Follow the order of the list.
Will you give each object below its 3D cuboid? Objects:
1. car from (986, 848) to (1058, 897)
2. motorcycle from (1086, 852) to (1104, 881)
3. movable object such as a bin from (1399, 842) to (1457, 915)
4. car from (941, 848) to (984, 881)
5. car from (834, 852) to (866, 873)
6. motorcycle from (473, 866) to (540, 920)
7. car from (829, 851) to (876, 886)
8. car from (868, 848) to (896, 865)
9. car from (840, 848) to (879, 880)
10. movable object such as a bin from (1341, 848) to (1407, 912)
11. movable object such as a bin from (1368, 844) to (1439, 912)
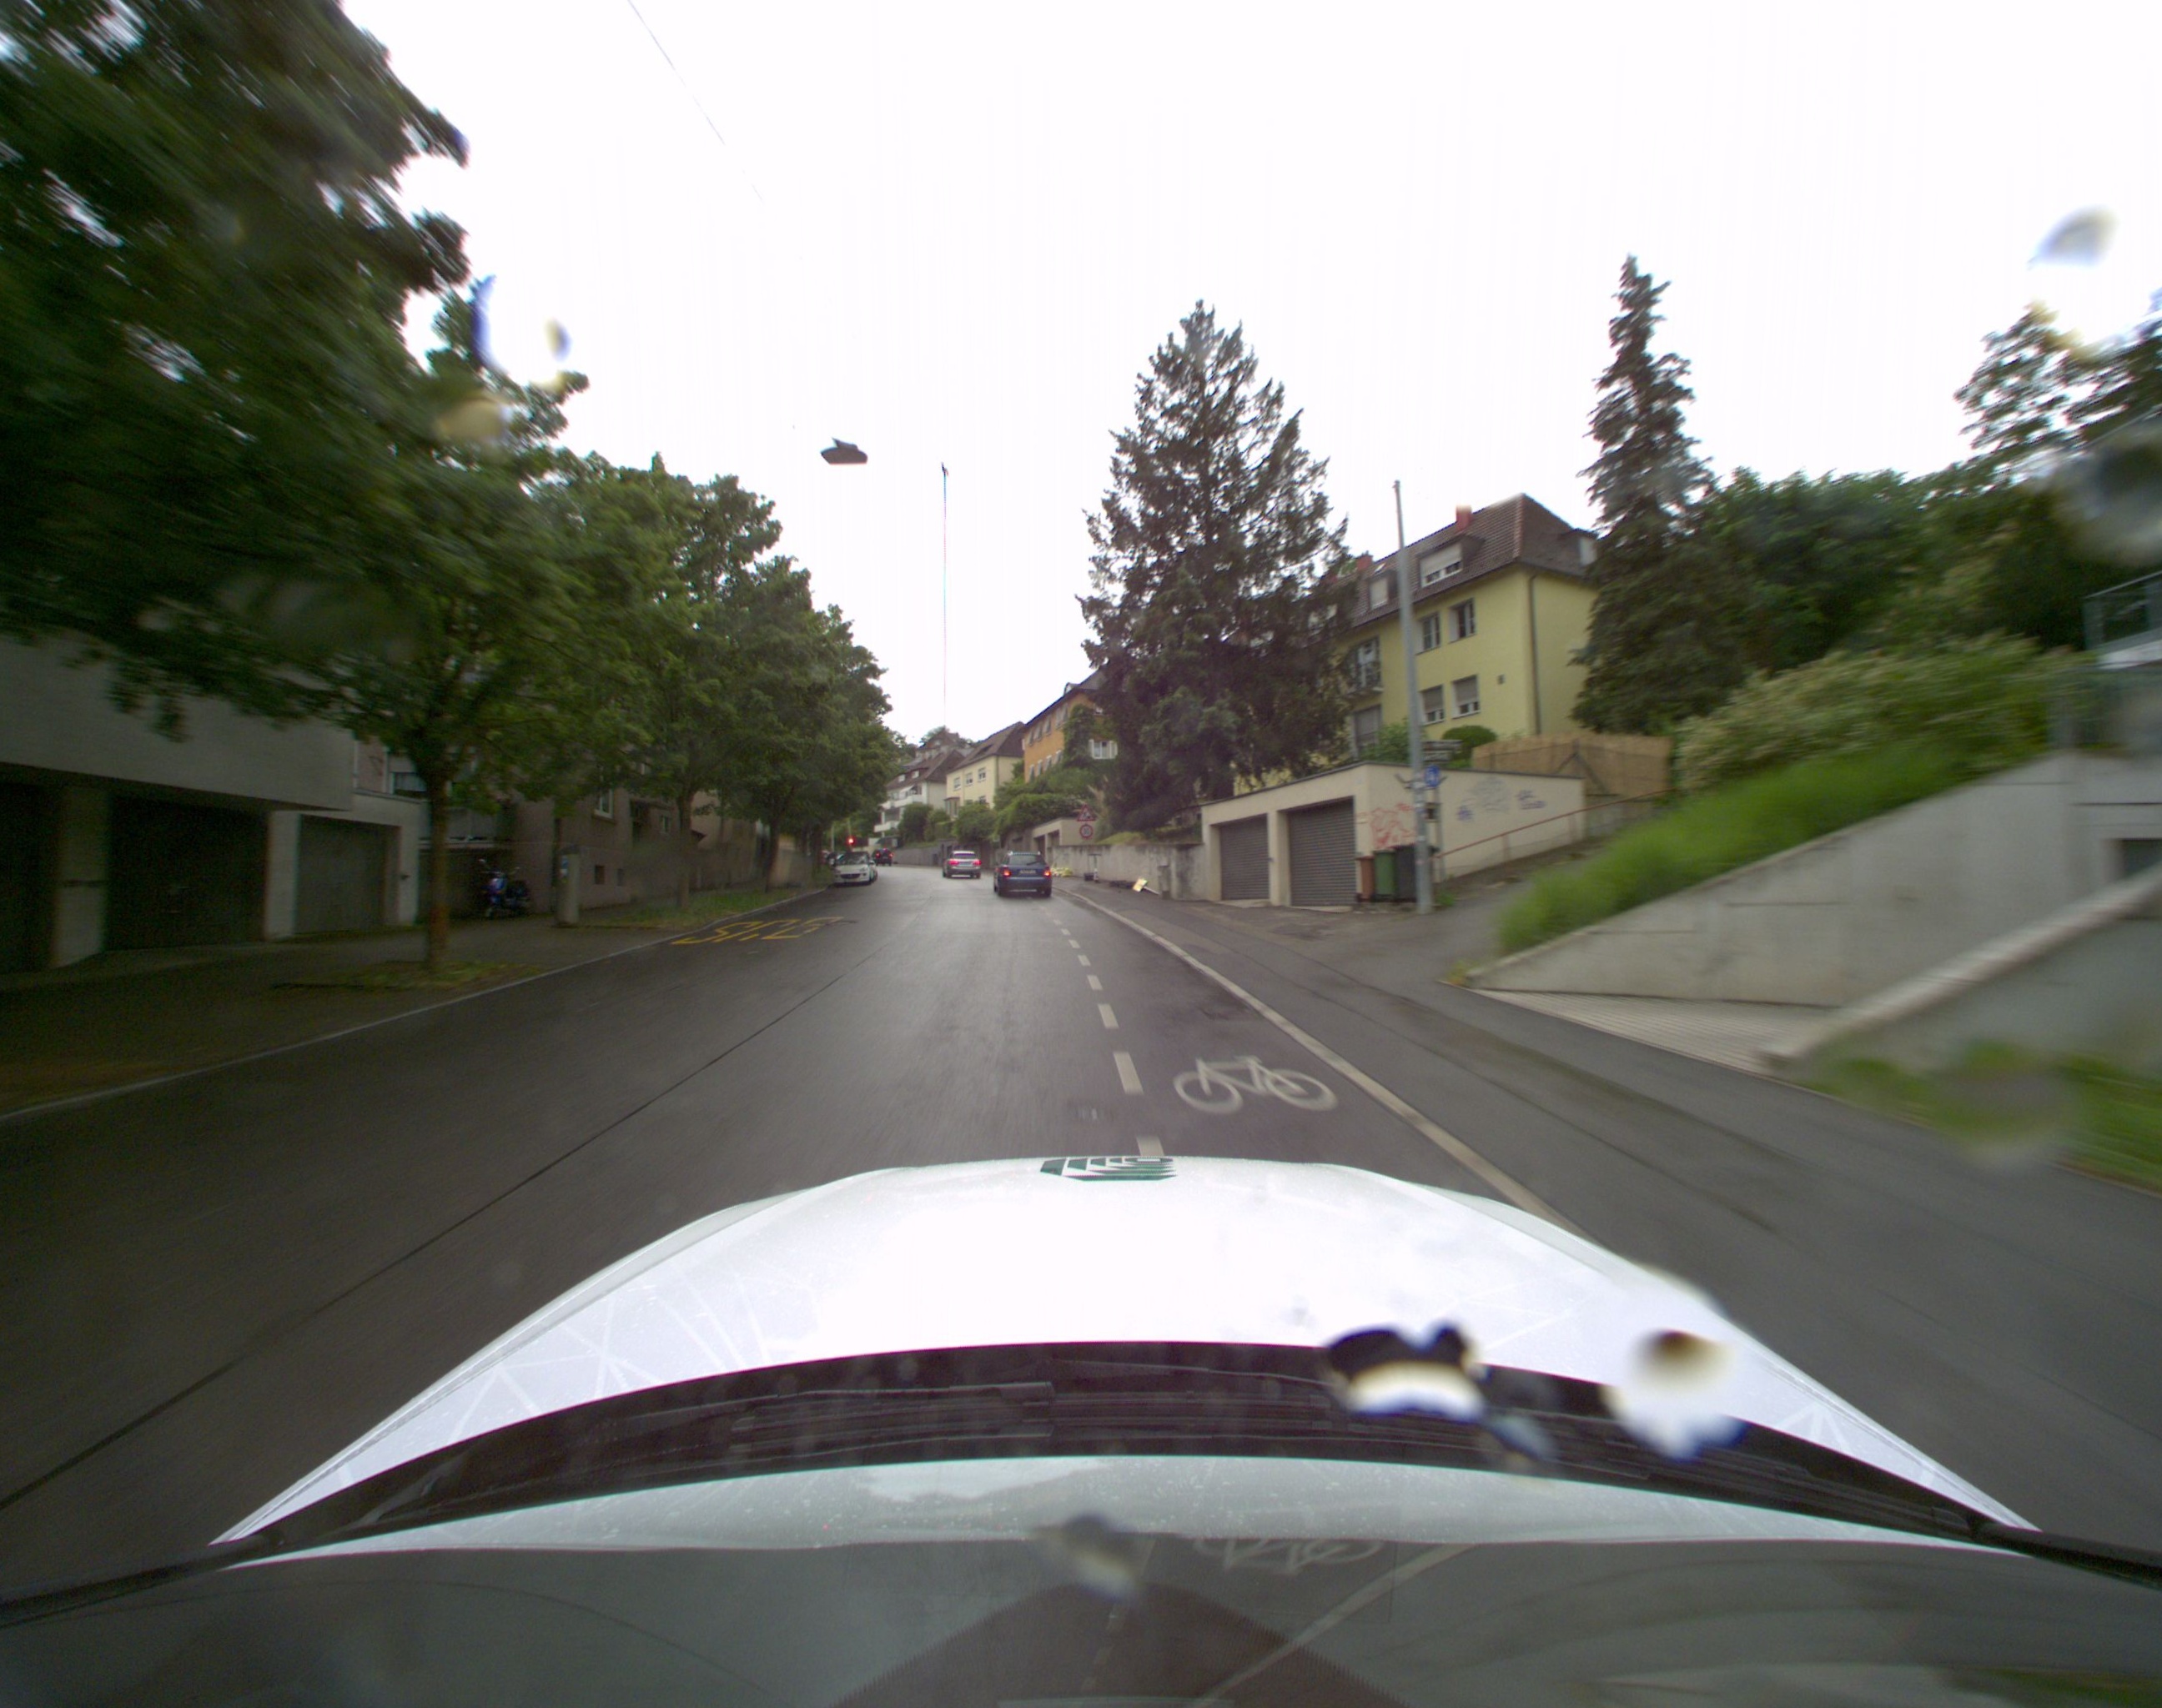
[{"bbox_3d":[-2.092,0.593,27.648,1.855,1.414,4.344,-3,0,-11],"label":"car"},{"bbox_3d":[0.556,0.495,32.880,0.547,1.131,1.437,-2,0,-5],"label":"motorcycle"},{"bbox_3d":[6.096,0.417,14.316,0.705,1.223,0.577,-3,0,-22],"label":"movable object such as a bin"},{"bbox_3d":[-6.564,0.517,44.747,1.953,1.561,4.243,-1,2,-14],"label":"car"},{"bbox_3d":[-17.588,0.670,61.934,2.001,1.475,3.972,-3,0,-21],"label":"car"},{"bbox_3d":[-13.639,0.895,19.375,0.614,1.159,1.693,0,1,-10],"label":"motorcycle"},{"bbox_3d":[-10.929,0.641,38.946,1.998,1.530,3.978,-2,0,-16],"label":"car"},{"bbox_3d":[-21.204,0.240,86.701,2.005,1.684,3.963,-2,0,-29],"label":"car"},{"bbox_3d":[-11.906,0.504,43.726,1.882,1.596,3.978,-2,0,-16],"label":"car"},{"bbox_3d":[5.647,0.490,15.721,0.862,1.142,0.794,-3,0,-22],"label":"movable object such as a bin"},{"bbox_3d":[5.924,0.431,14.980,0.862,1.185,0.781,-3,0,-22],"label":"movable object such as a bin"}]
